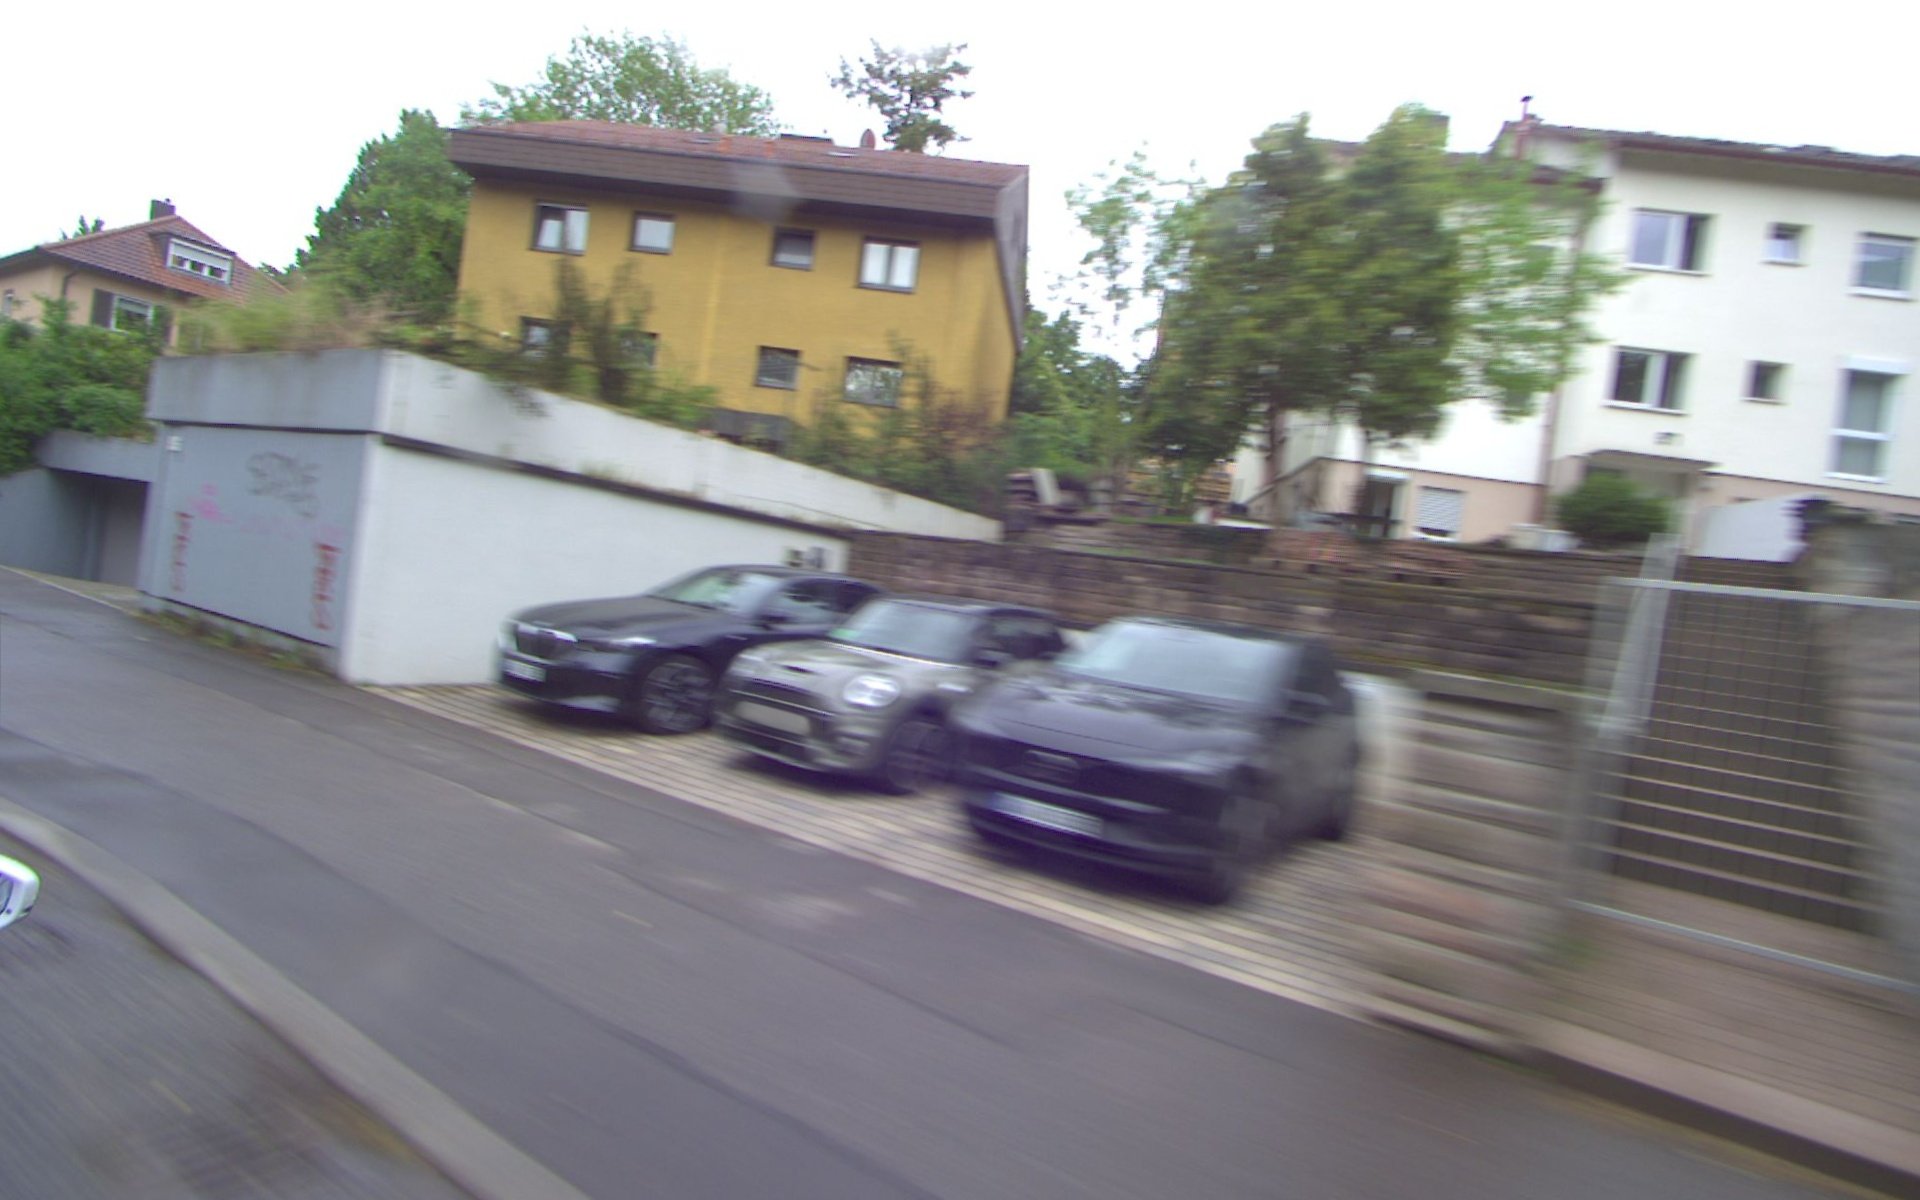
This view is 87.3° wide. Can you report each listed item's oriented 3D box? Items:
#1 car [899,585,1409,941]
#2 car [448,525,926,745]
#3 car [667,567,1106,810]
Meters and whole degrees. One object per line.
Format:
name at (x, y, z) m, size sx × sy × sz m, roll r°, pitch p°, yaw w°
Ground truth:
car at (1.663, 0.891, 7.064) m, size 1.865 × 1.526 × 4.218 m, roll 8°, pitch 1°, yaw 34°
car at (-2.427, 0.347, 9.789) m, size 1.929 × 1.534 × 4.031 m, roll 9°, pitch 2°, yaw 38°
car at (-0.410, 0.668, 8.624) m, size 1.807 × 1.444 × 3.636 m, roll 8°, pitch 1°, yaw 33°
